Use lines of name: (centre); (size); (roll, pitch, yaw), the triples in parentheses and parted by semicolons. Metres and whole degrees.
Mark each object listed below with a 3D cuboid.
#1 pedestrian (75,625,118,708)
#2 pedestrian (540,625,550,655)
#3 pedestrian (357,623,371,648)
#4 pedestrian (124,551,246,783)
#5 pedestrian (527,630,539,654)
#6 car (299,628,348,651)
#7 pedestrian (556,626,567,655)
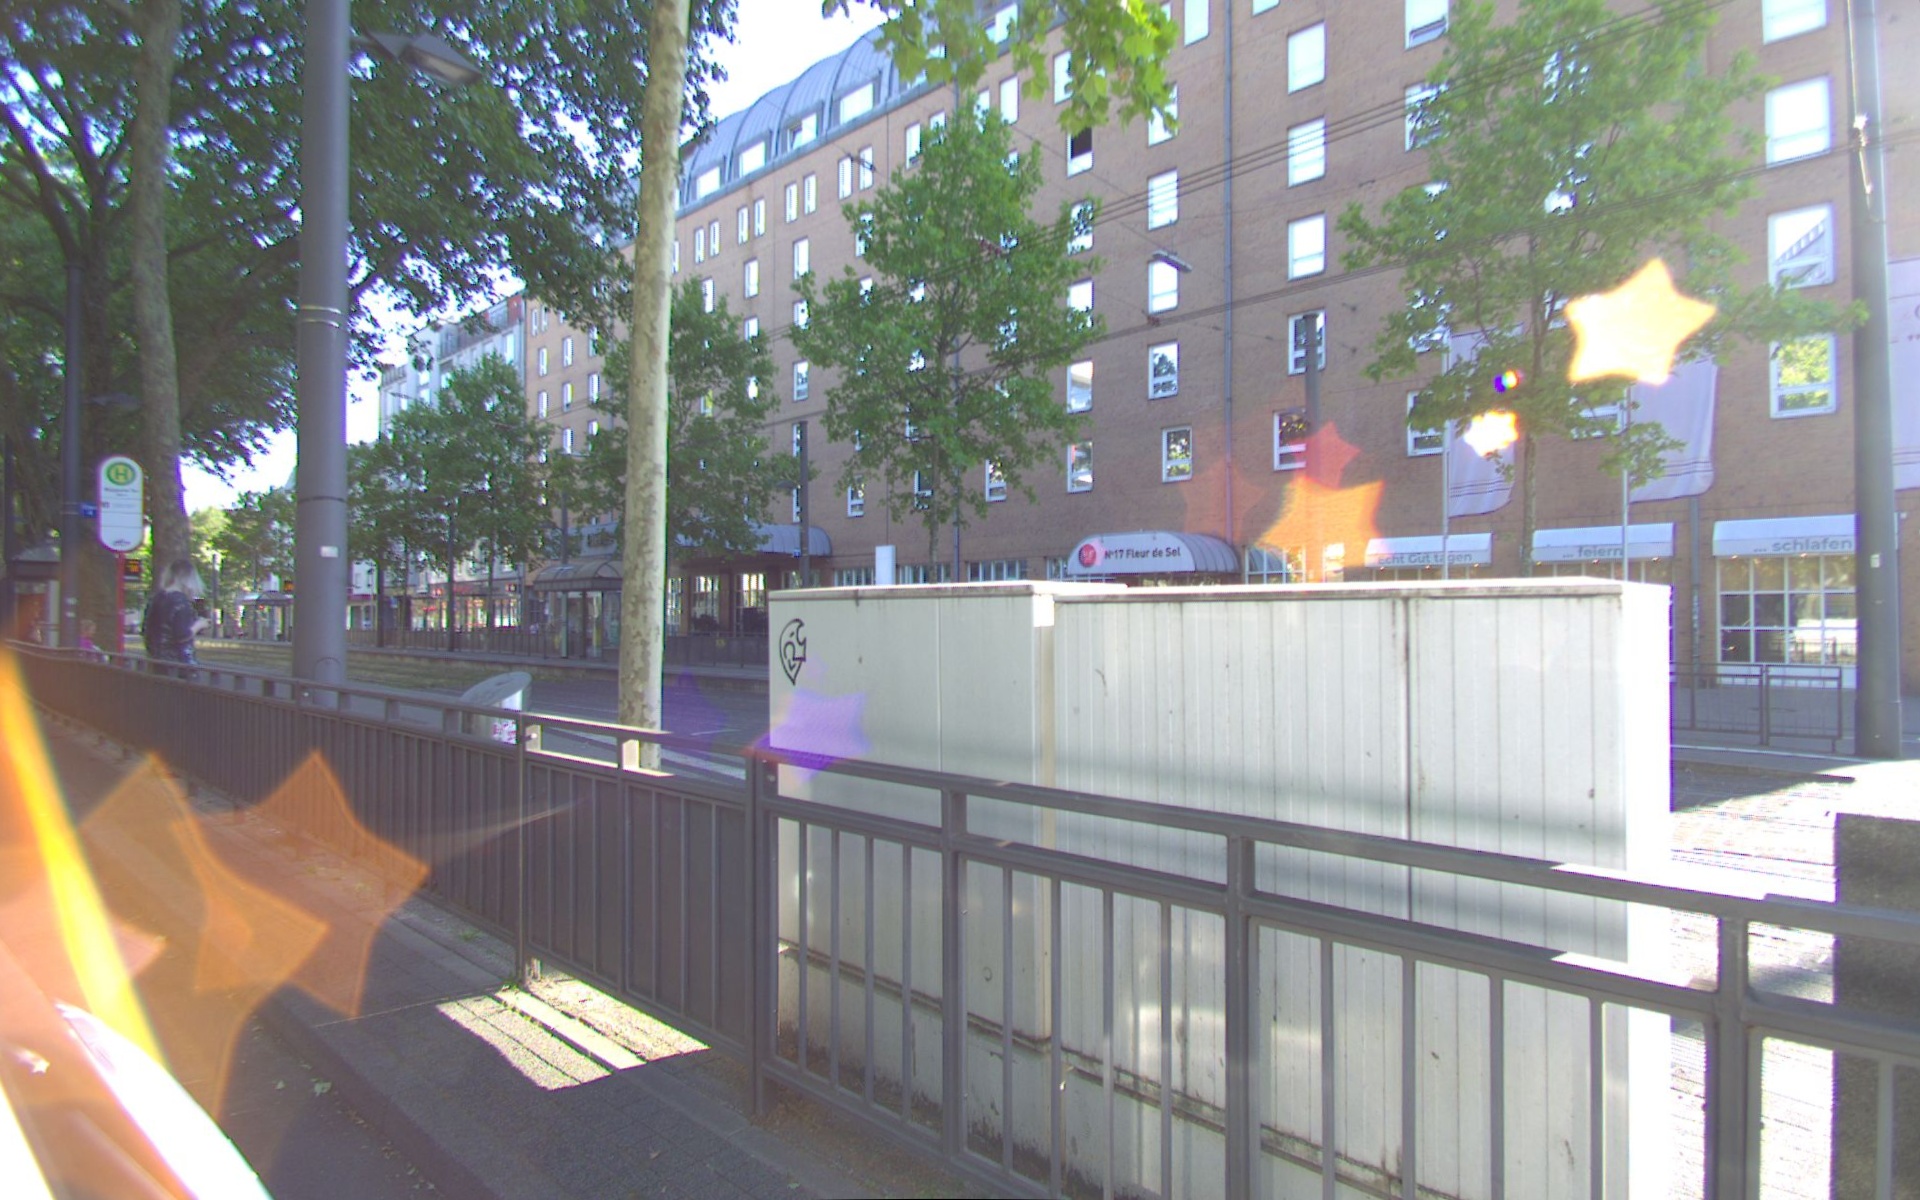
pedestrian: (-13.954, 1.063, 16.355); (0.493, 1.325, 0.419); (1, -2, -41)
pedestrian: (-21.614, 2.075, 52.677); (0.431, 1.518, 0.660); (1, -2, -27)
pedestrian: (-47.432, 2.814, 80.532); (0.763, 2.029, 0.796); (-2, -2, 41)
pedestrian: (-6.665, 0.545, 8.712); (0.603, 1.897, 0.617); (1, 0, 26)
pedestrian: (-26.145, 2.542, 61.930); (0.516, 1.447, 0.512); (-2, -2, 44)
car: (-42.652, 2.606, 67.781); (4.308, 1.500, 1.736); (-1, -2, 42)
pedestrian: (-20.959, 2.141, 53.215); (0.431, 1.532, 0.660); (1, -2, -27)
